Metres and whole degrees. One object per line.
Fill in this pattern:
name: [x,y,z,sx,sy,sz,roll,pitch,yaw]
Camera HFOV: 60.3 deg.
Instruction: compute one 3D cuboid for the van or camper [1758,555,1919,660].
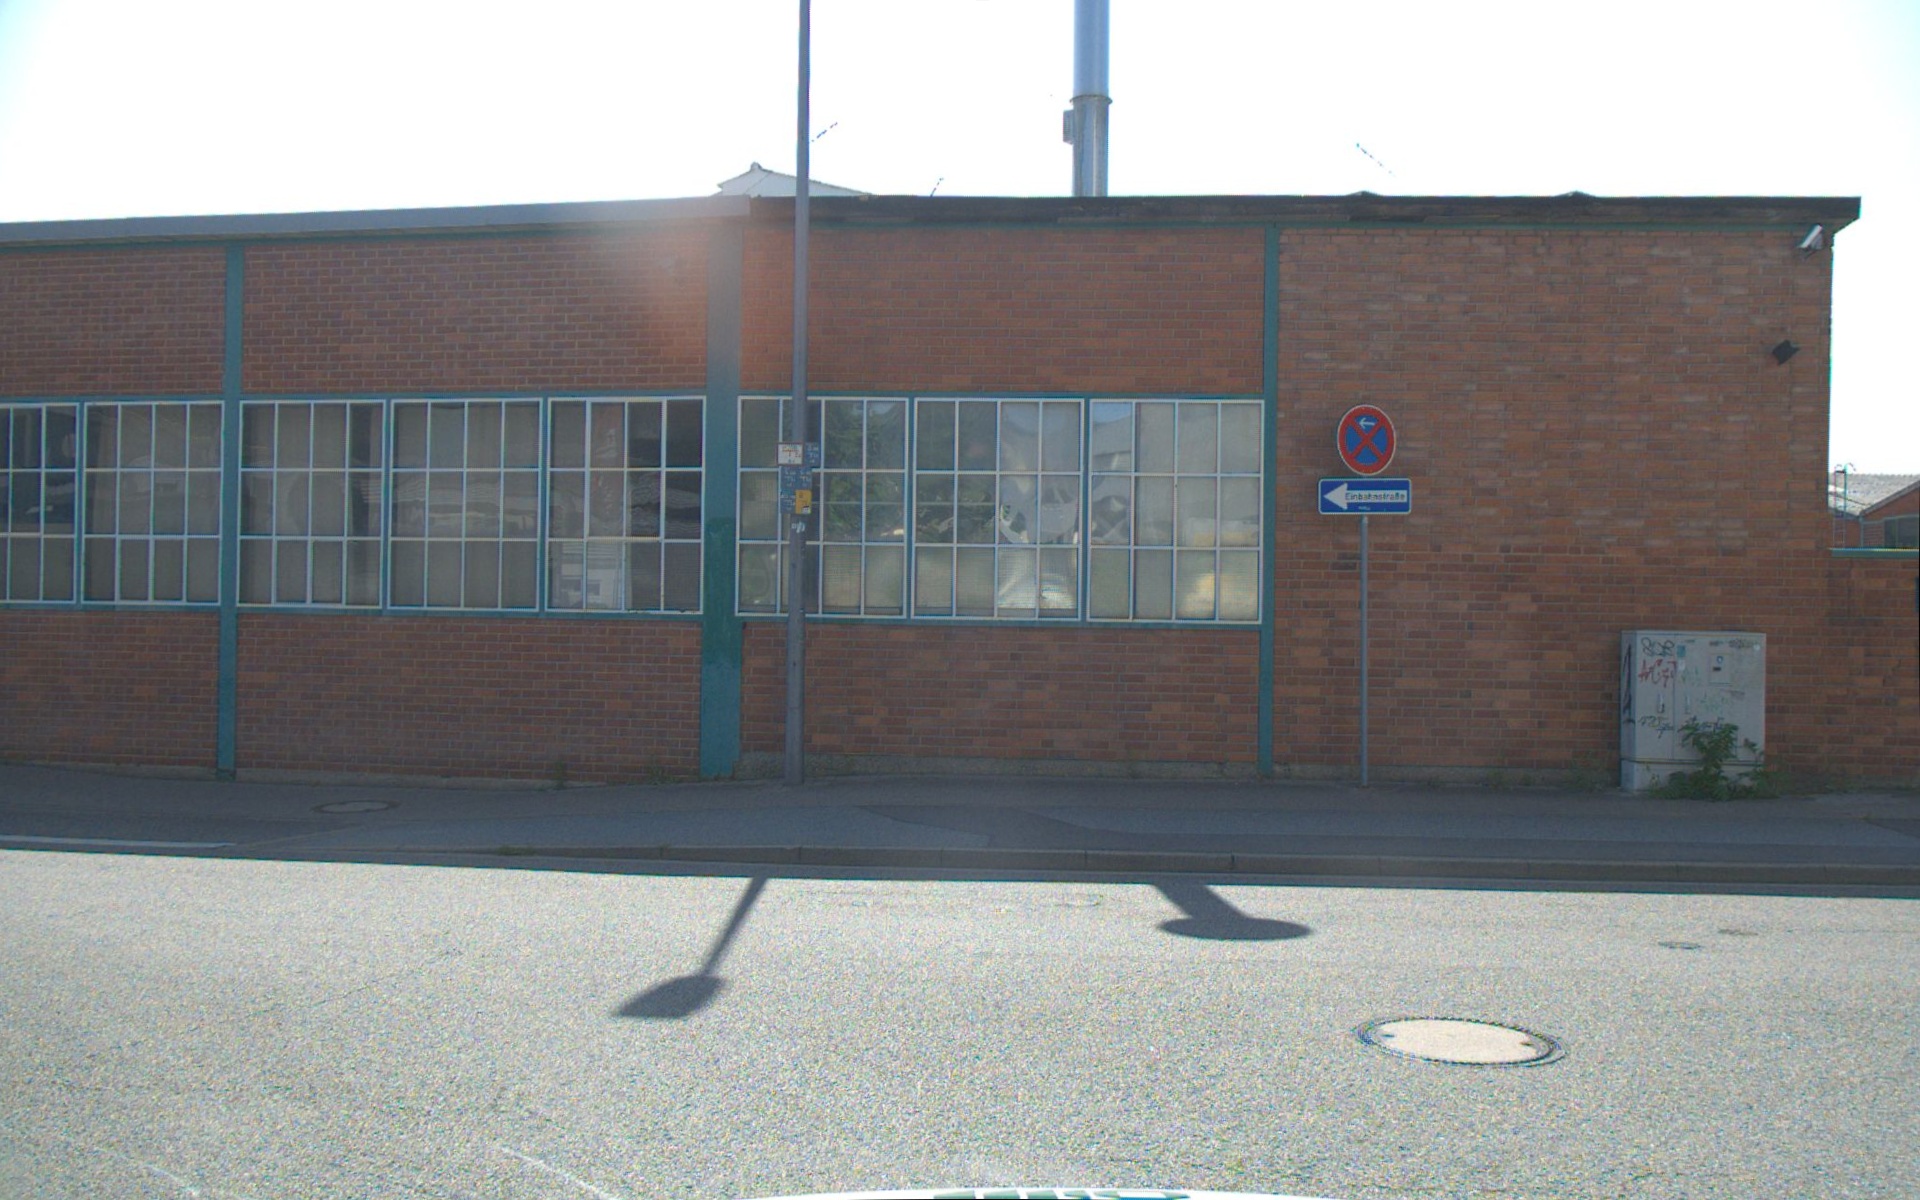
van or camper: [18.416,0.191,33.042,4.343,1.933,1.988,3,0,-21]
